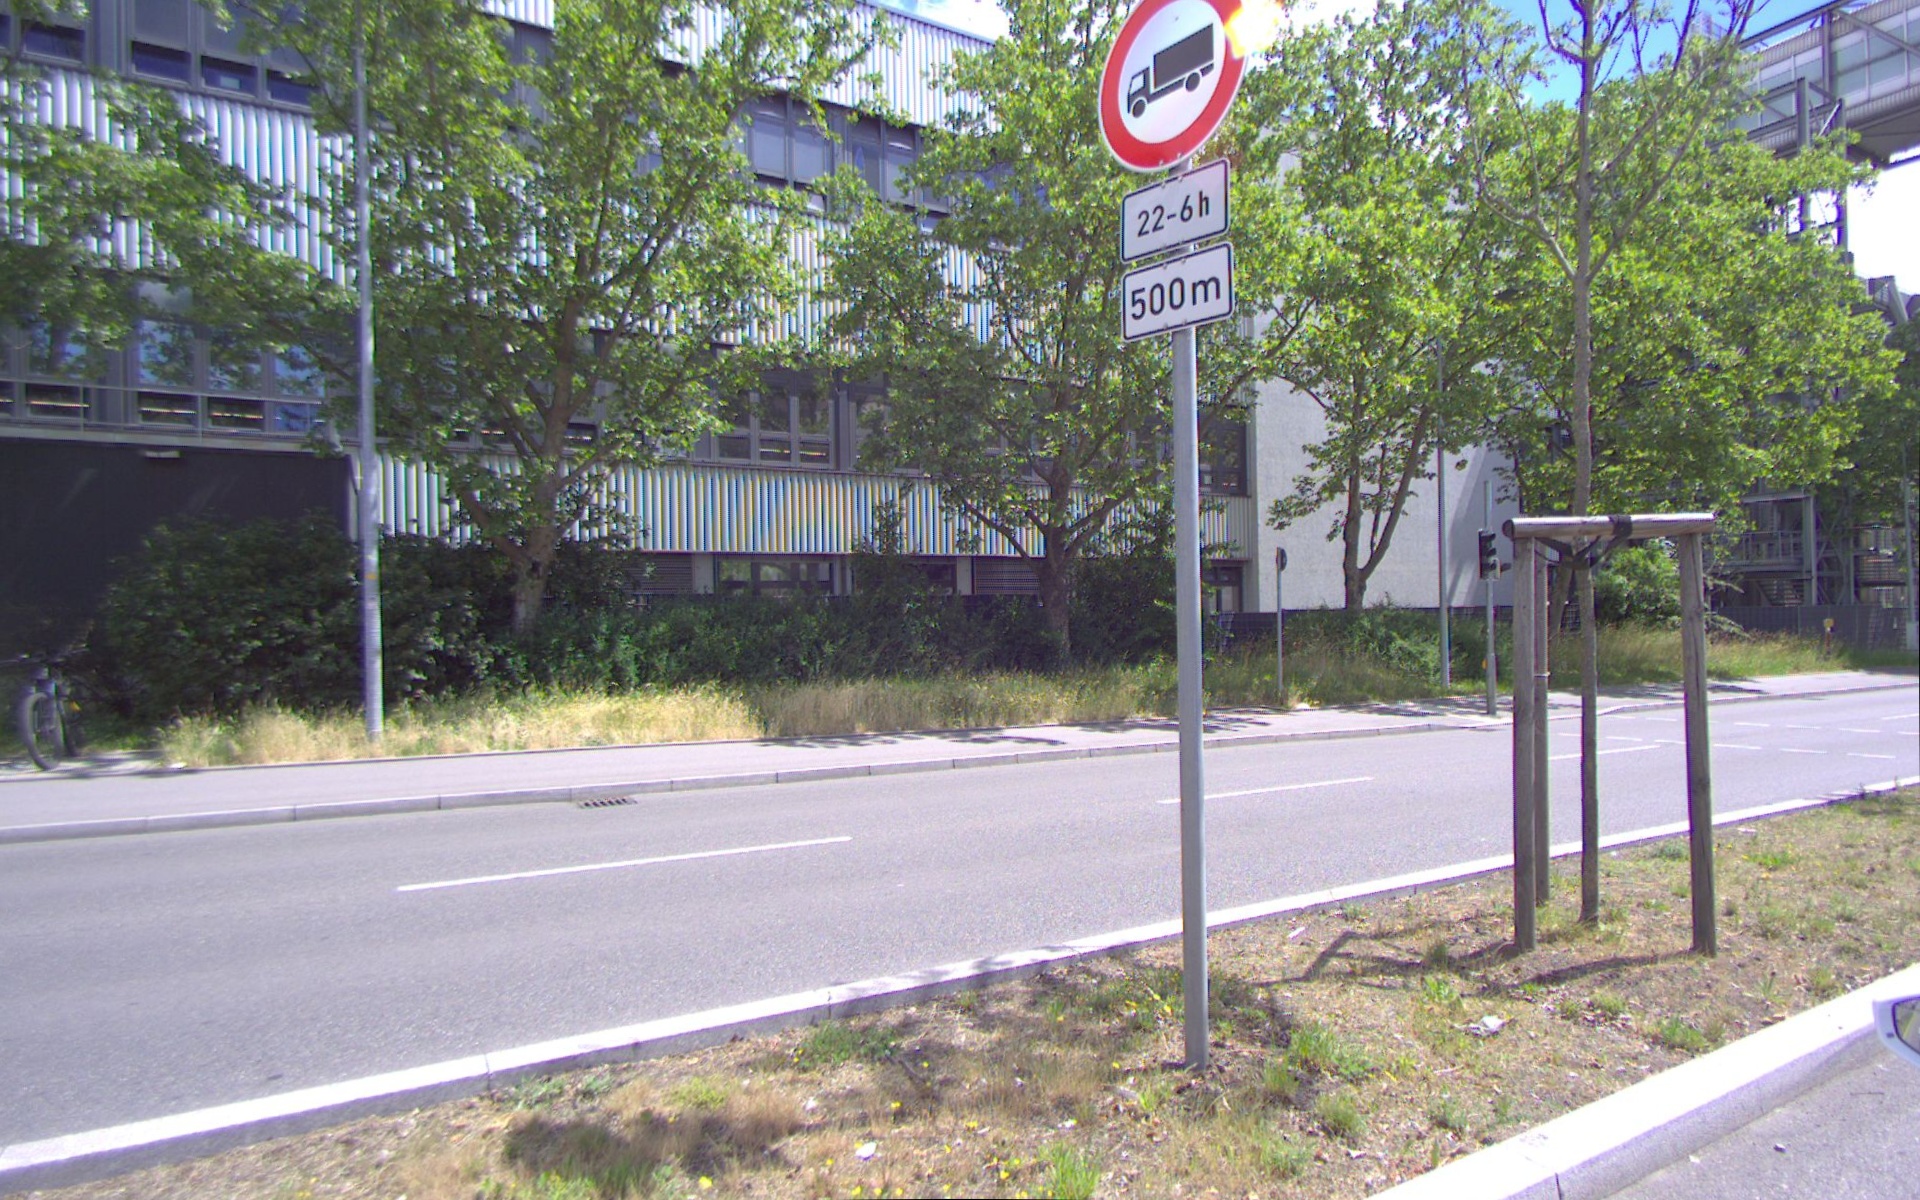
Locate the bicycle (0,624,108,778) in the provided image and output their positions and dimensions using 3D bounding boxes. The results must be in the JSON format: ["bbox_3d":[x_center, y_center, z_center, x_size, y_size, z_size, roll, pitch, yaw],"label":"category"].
[{"bbox_3d":[-9.313,0.960,10.252,0.484,1.382,2.158,1,0,-28],"label":"bicycle"}]
